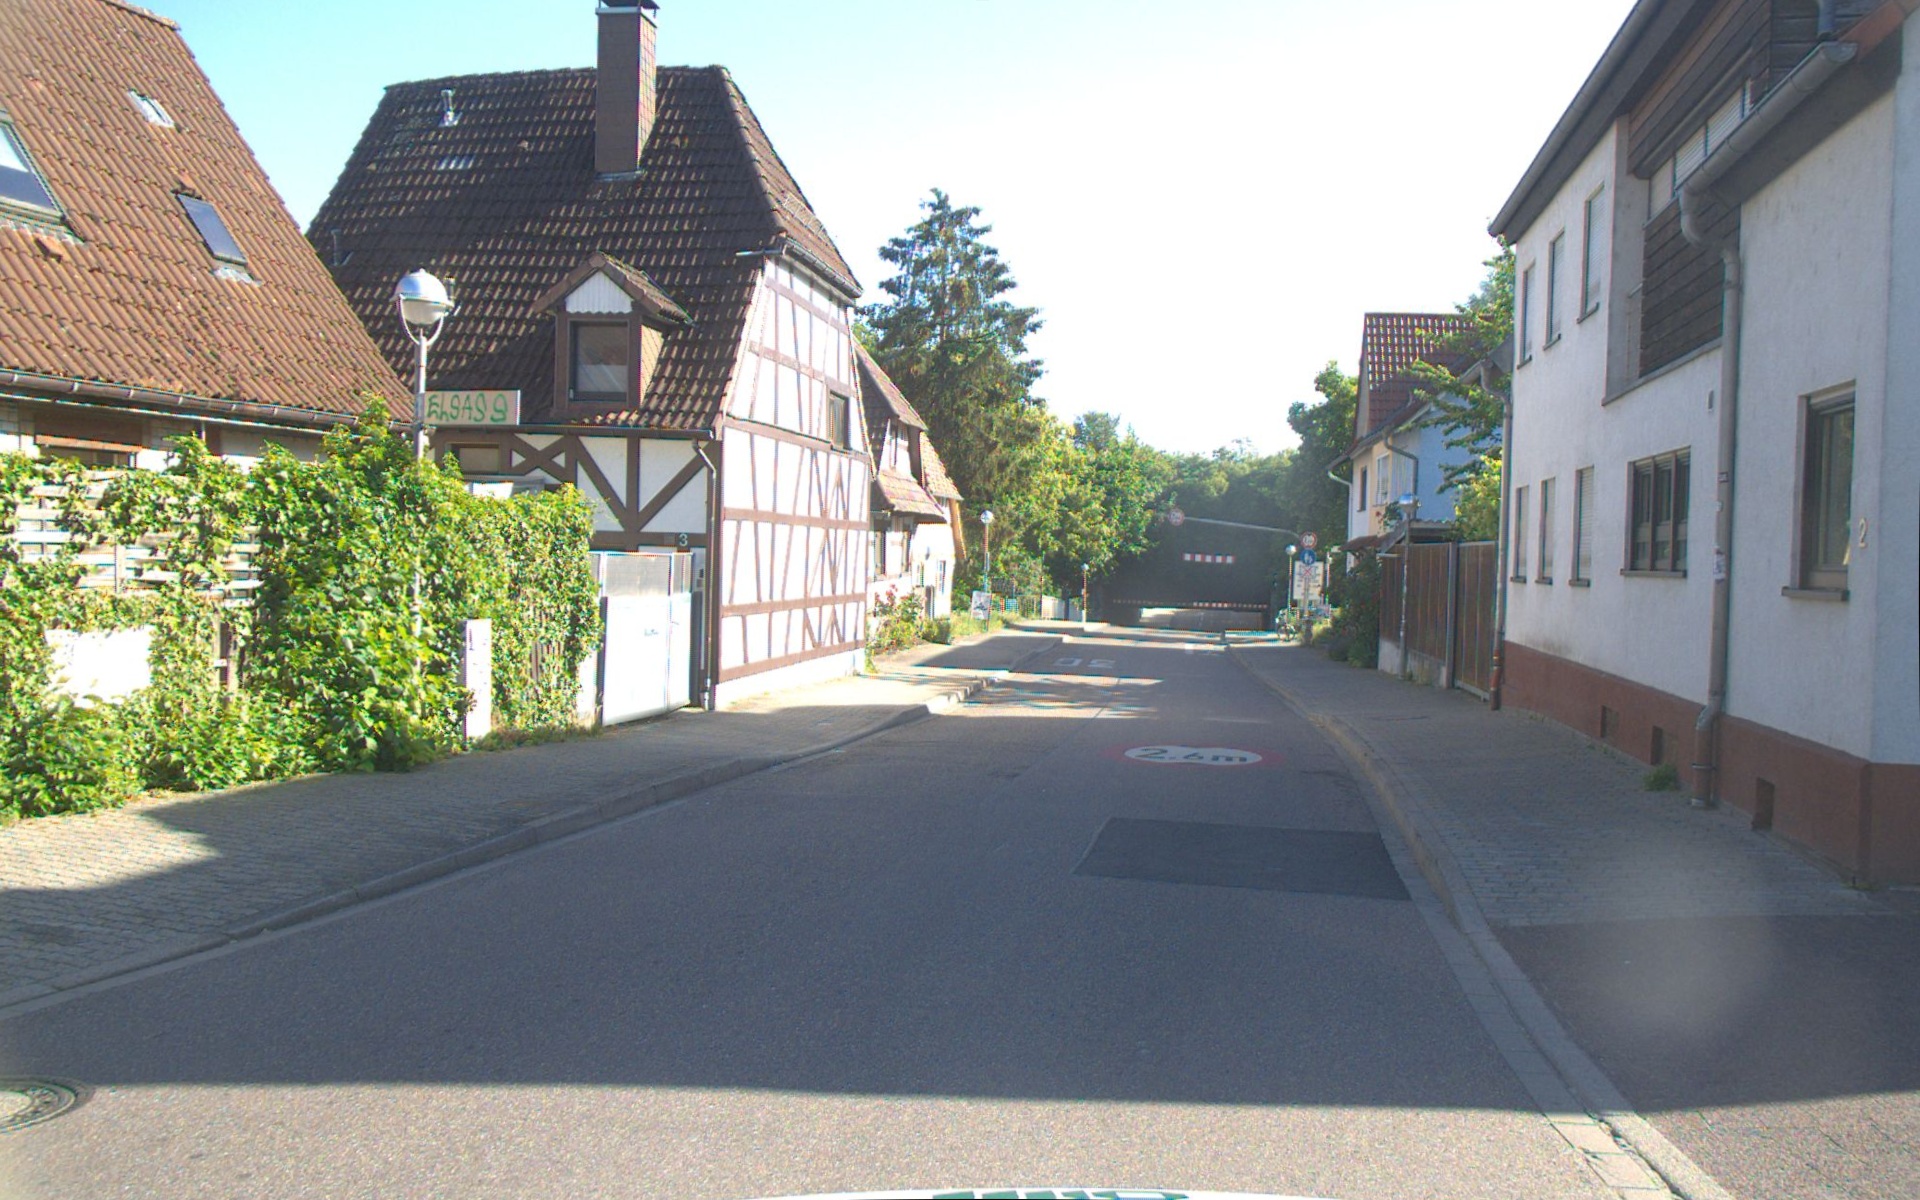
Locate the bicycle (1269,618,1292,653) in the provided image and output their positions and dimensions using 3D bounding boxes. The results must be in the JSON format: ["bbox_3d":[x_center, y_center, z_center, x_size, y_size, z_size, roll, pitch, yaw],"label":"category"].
[{"bbox_3d":[11.418,1.268,58.948,0.674,1.177,1.540,-2,0,7],"label":"bicycle"}]
